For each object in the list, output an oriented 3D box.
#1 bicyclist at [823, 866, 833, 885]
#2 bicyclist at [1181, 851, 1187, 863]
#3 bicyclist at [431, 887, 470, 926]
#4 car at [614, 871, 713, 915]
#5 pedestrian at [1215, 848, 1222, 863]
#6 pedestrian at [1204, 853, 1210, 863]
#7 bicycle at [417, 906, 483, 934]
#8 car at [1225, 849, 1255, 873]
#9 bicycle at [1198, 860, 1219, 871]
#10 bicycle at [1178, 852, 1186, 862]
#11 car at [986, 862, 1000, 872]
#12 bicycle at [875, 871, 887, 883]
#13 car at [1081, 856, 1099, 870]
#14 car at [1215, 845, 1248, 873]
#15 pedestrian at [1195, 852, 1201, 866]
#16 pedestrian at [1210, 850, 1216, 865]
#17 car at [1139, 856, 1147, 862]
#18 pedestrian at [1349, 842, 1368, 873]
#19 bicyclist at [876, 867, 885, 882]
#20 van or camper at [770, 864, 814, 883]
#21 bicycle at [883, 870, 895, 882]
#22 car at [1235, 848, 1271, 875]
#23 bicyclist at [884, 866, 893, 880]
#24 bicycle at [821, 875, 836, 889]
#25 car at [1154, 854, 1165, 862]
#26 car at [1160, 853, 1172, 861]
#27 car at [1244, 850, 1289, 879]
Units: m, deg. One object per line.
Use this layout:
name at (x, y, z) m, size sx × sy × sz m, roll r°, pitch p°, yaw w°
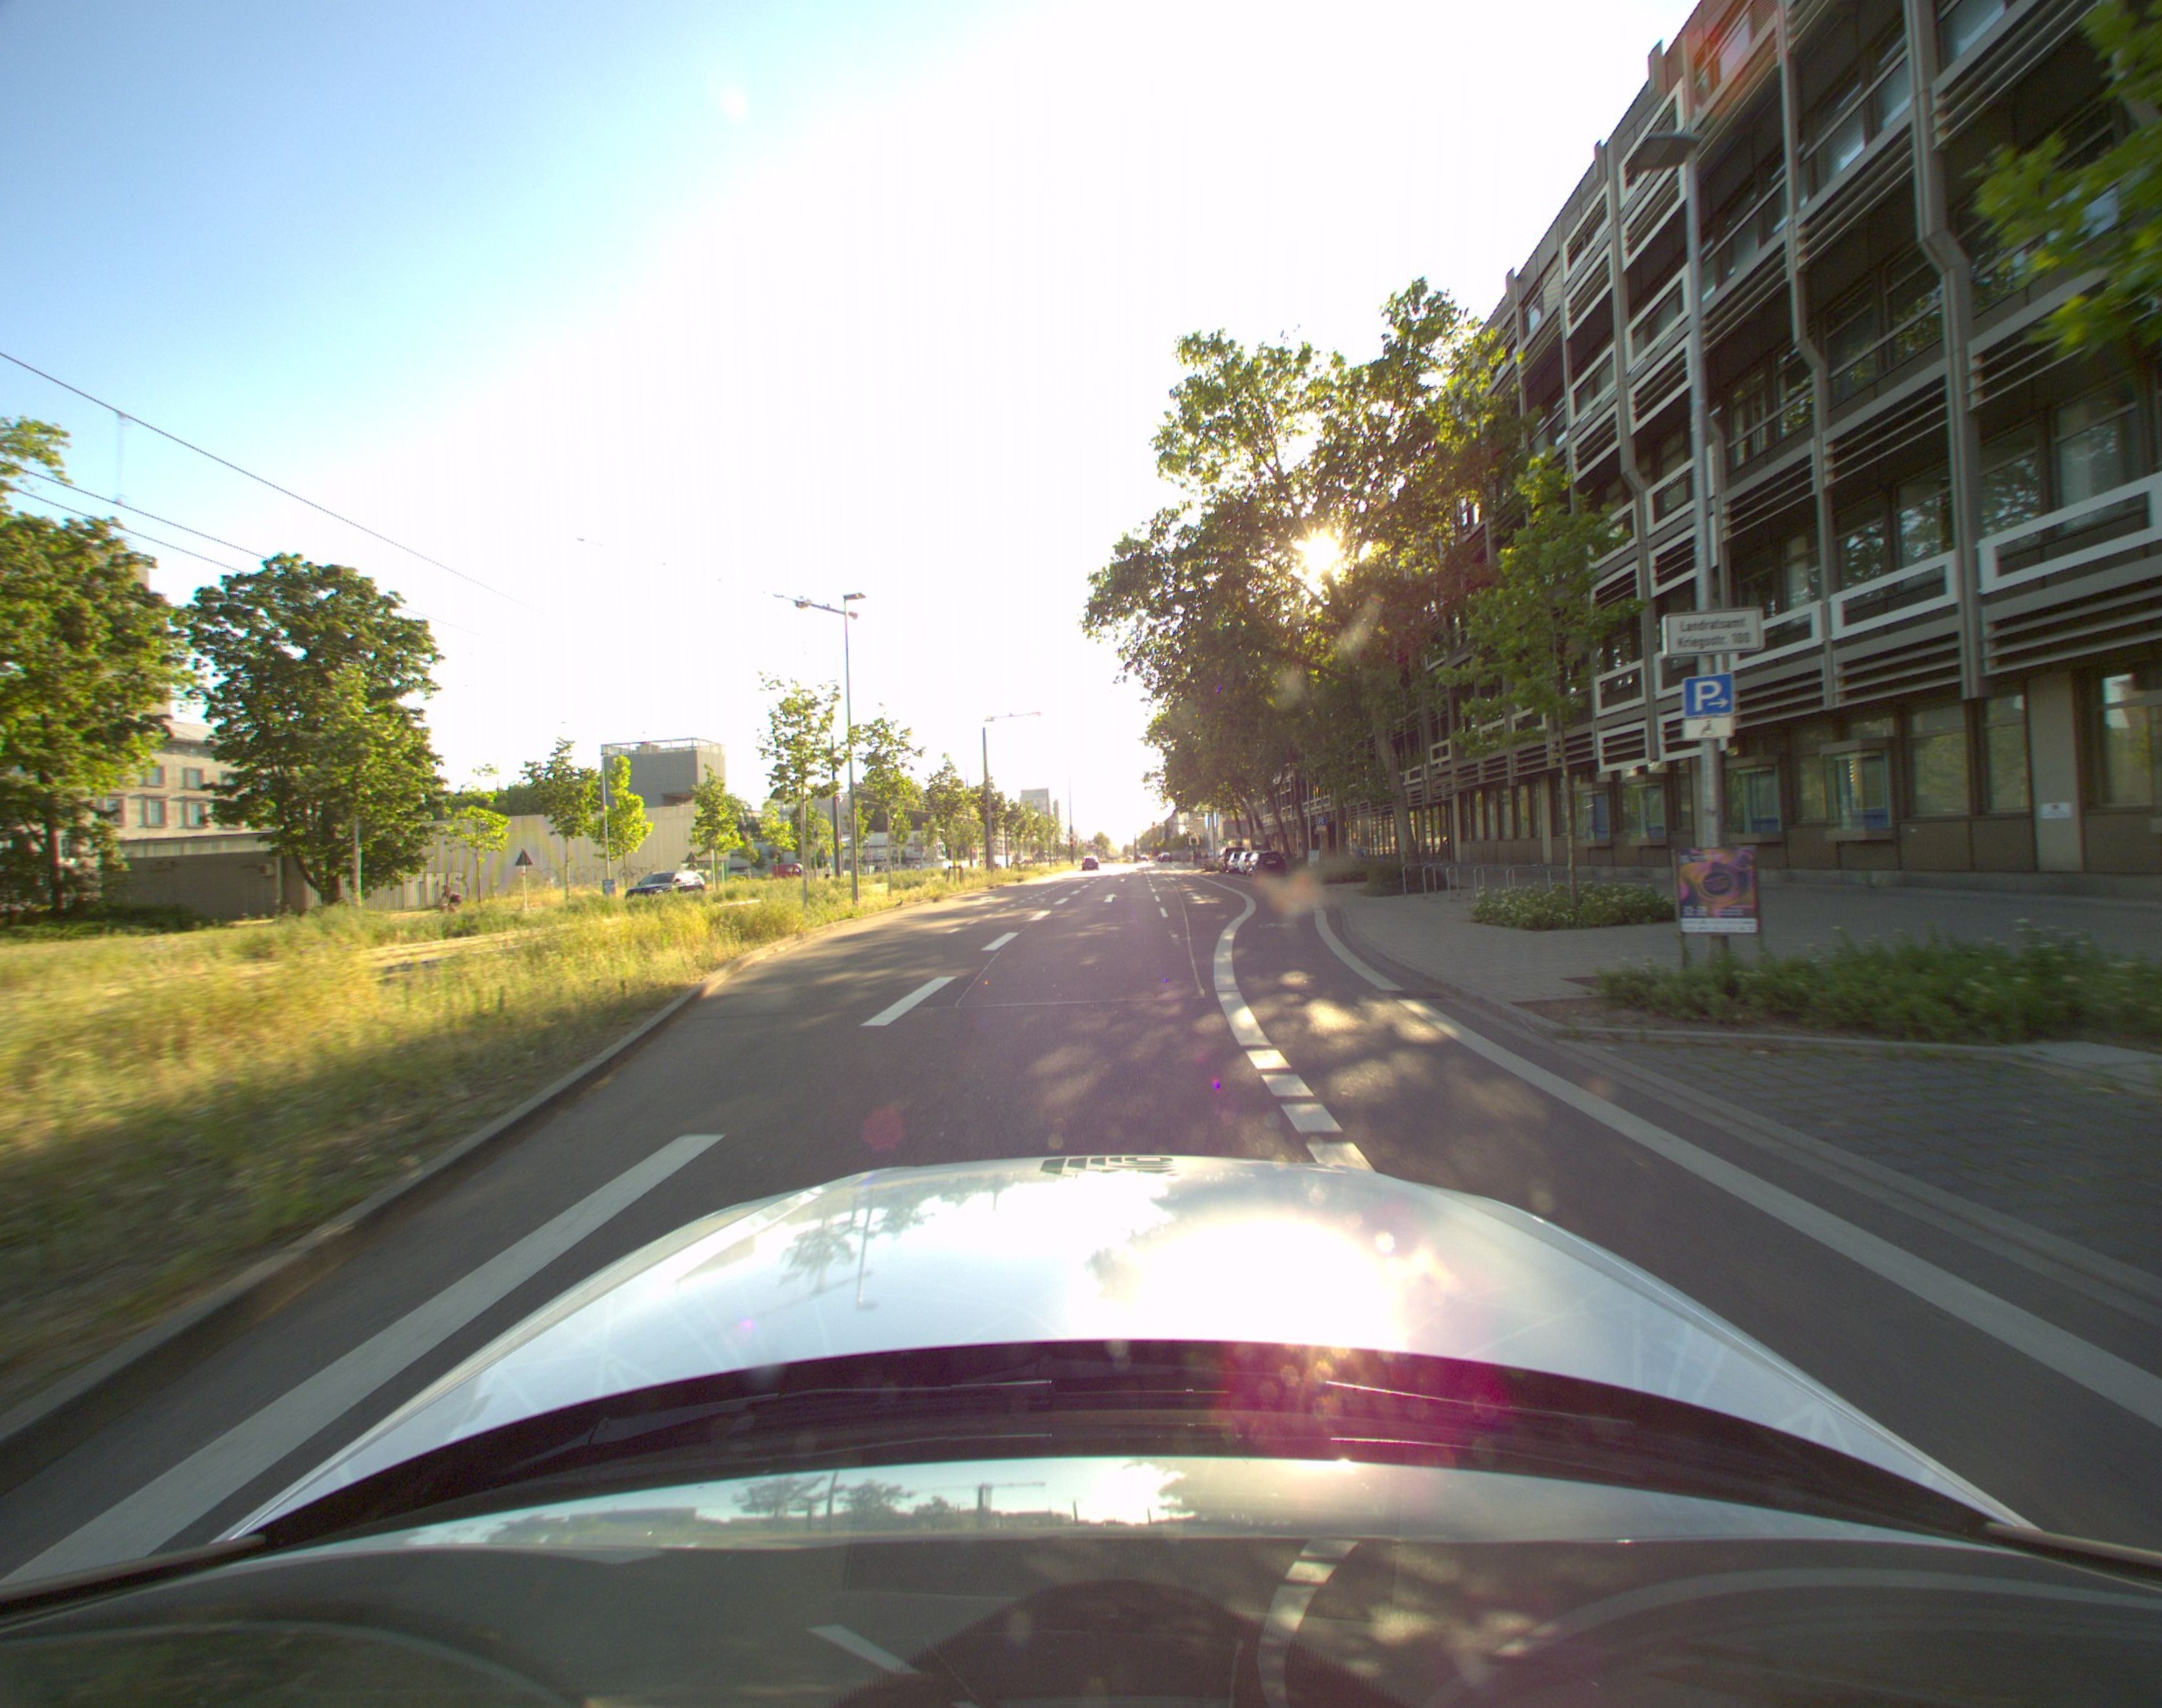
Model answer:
bicyclist at (-20.847, 1.795, 67.177) m, size 0.554 × 1.507 × 0.668 m, roll -3°, pitch 0°, yaw 4°
bicyclist at (13.960, 0.385, 110.234) m, size 0.796 × 1.602 × 0.786 m, roll -2°, pitch 0°, yaw 4°
bicyclist at (-23.061, 1.902, 29.790) m, size 0.685 × 1.346 × 0.871 m, roll -3°, pitch 0°, yaw 1°
car at (-19.325, 1.759, 37.968) m, size 1.863 × 1.765 × 4.816 m, roll -3°, pitch 0°, yaw 3°
pedestrian at (19.408, 0.270, 114.926) m, size 0.761 × 2.060 × 0.799 m, roll -4°, pitch 0°, yaw 10°
pedestrian at (21.328, 0.702, 138.065) m, size 0.813 × 1.734 × 0.792 m, roll -3°, pitch 0°, yaw 7°
bicycle at (-23.066, 2.410, 29.828) m, size 0.685 × 0.804 × 2.146 m, roll -3°, pitch 0°, yaw 2°
car at (11.149, 0.441, 57.318) m, size 1.672 × 1.514 × 5.070 m, roll -5°, pitch 0°, yaw 8°
bicycle at (11.229, 1.026, 71.656) m, size 1.681 × 0.867 × 0.574 m, roll -4°, pitch -1°, yaw 11°
bicycle at (13.730, 0.381, 110.265) m, size 0.794 × 1.204 × 2.272 m, roll -3°, pitch 0°, yaw 12°
car at (-16.275, 2.355, 150.894) m, size 1.985 × 1.776 × 4.004 m, roll -3°, pitch 0°, yaw 3°
bicycle at (-20.404, 2.312, 83.116) m, size 0.581 × 1.105 × 1.990 m, roll -2°, pitch 0°, yaw 4°
car at (1.016, 0.928, 86.143) m, size 1.770 × 1.428 × 4.002 m, roll -2°, pitch 0°, yaw 2°
car at (11.665, 0.376, 63.365) m, size 1.821 × 1.970 × 5.327 m, roll -5°, pitch 0°, yaw 4°
pedestrian at (14.535, 0.592, 101.006) m, size 0.631 × 1.703 × 0.570 m, roll -4°, pitch 0°, yaw 4°
pedestrian at (18.777, 0.543, 115.830) m, size 0.761 × 2.060 × 0.799 m, roll -4°, pitch 0°, yaw 10°
car at (15.824, 1.351, 208.875) m, size 1.752 × 1.485 × 3.852 m, roll -3°, pitch 0°, yaw 2°
pedestrian at (16.999, 0.204, 49.851) m, size 0.828 × 1.856 × 0.848 m, roll -3°, pitch 0°, yaw 3°
bicyclist at (-20.432, 2.067, 83.064) m, size 0.581 × 1.442 × 1.077 m, roll -2°, pitch 0°, yaw 4°
van or camper at (-42.510, 2.826, 119.931) m, size 5.633 × 2.414 × 2.158 m, roll -3°, pitch 0°, yaw 5°
bicycle at (-19.663, 2.253, 83.349) m, size 0.581 × 1.105 × 1.990 m, roll -2°, pitch 0°, yaw 4°
car at (10.863, 0.455, 51.649) m, size 1.674 × 1.478 × 3.878 m, roll -5°, pitch 0°, yaw 4°
bicyclist at (-19.677, 1.957, 83.376) m, size 0.581 × 1.442 × 1.077 m, roll -2°, pitch 0°, yaw 4°
bicycle at (-20.831, 2.304, 67.213) m, size 0.556 × 1.060 × 1.900 m, roll -3°, pitch 0°, yaw 4°
car at (16.624, 0.845, 172.027) m, size 1.933 × 1.485 × 3.927 m, roll -3°, pitch 0°, yaw 2°
car at (15.876, 0.564, 151.646) m, size 1.933 × 1.428 × 3.927 m, roll -3°, pitch 0°, yaw 2°
car at (10.279, 0.559, 45.312) m, size 1.699 × 1.418 × 4.281 m, roll -5°, pitch 0°, yaw 4°
